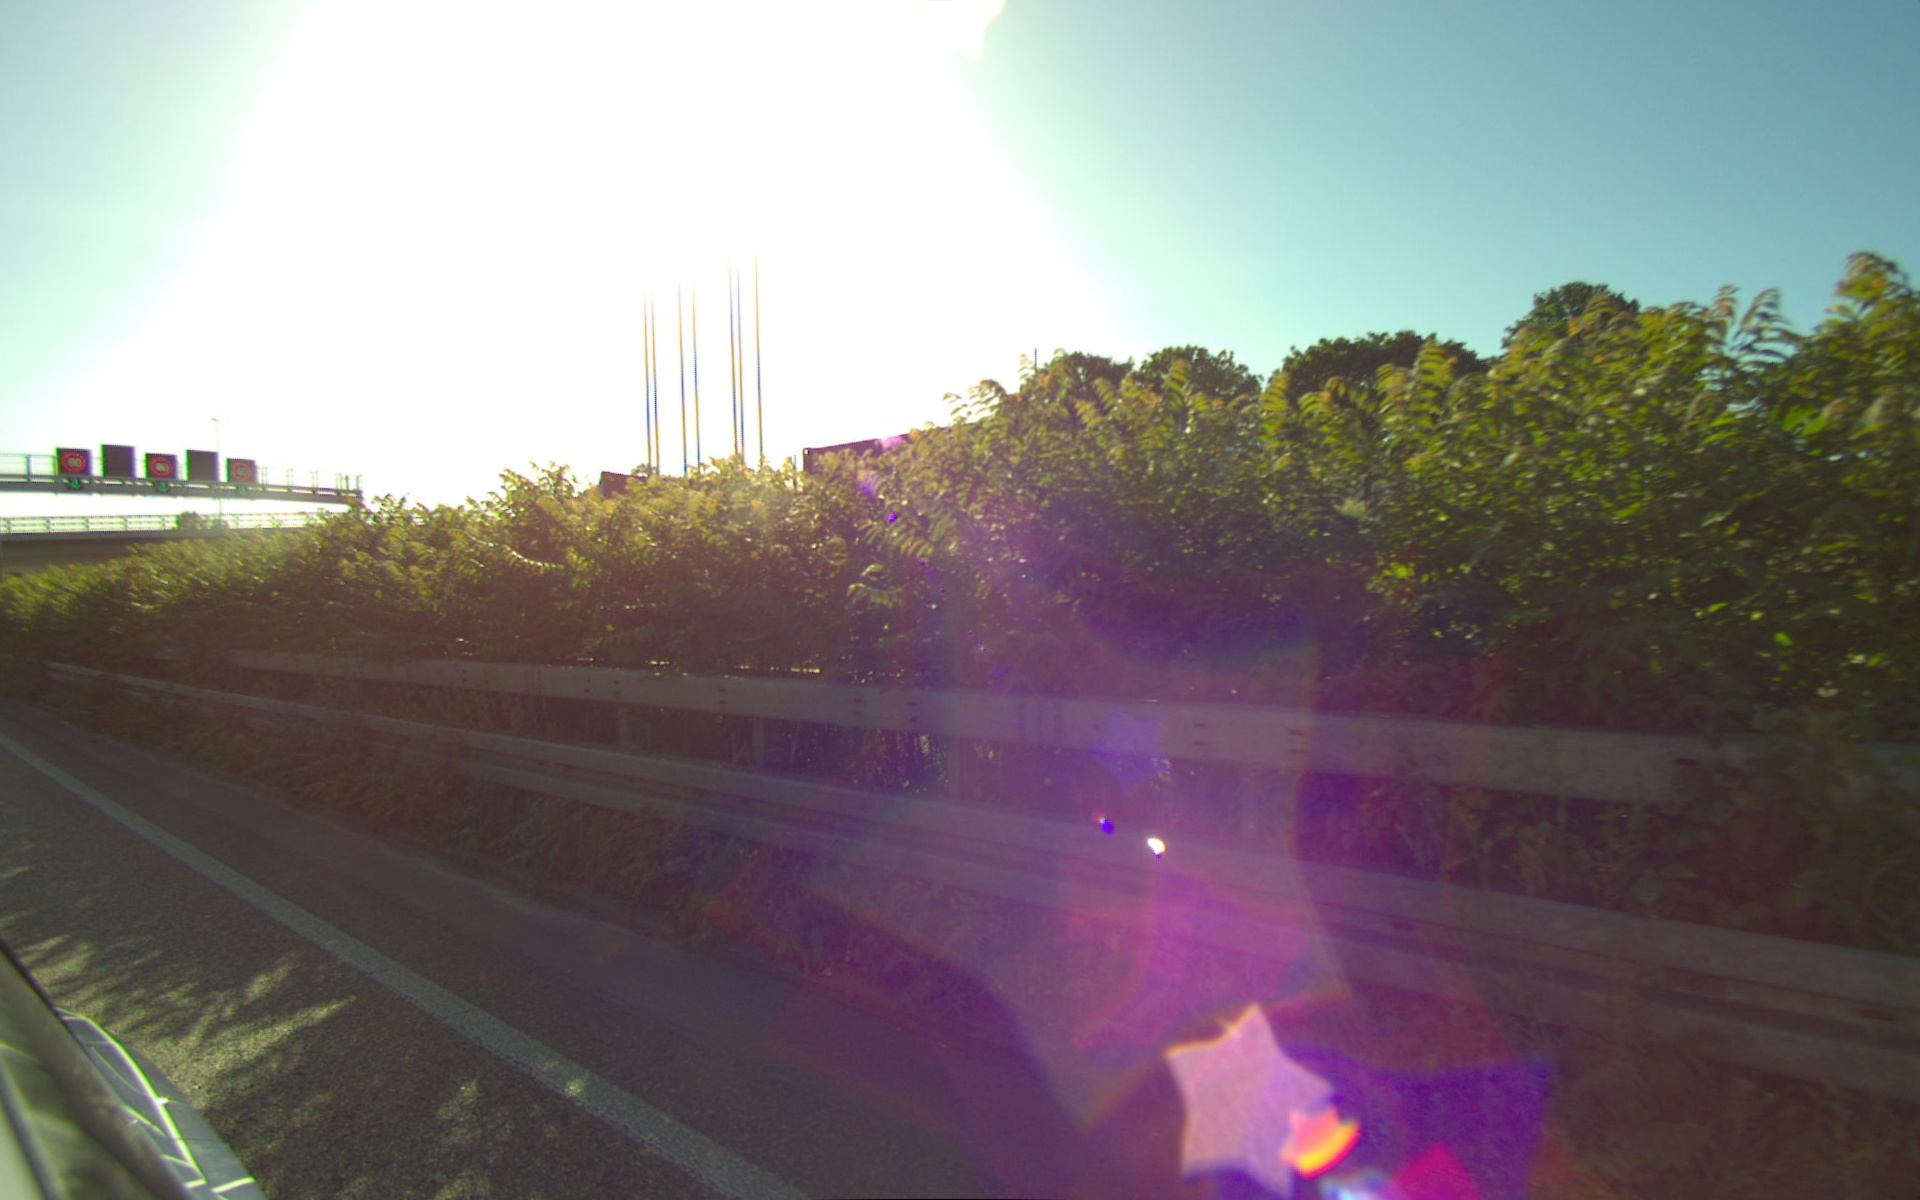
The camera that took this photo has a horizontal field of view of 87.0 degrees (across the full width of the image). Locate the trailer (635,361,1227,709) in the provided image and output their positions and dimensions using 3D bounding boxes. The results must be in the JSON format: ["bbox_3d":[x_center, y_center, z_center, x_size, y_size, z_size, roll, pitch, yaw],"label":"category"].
[{"bbox_3d":[-1.222,-0.686,16.578,10.694,4.154,2.621,-2,0,41],"label":"trailer"}]

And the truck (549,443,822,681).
[{"bbox_3d":[-5.663,-0.628,20.484,5.559,4.154,2.621,-2,0,41],"label":"truck"}]
